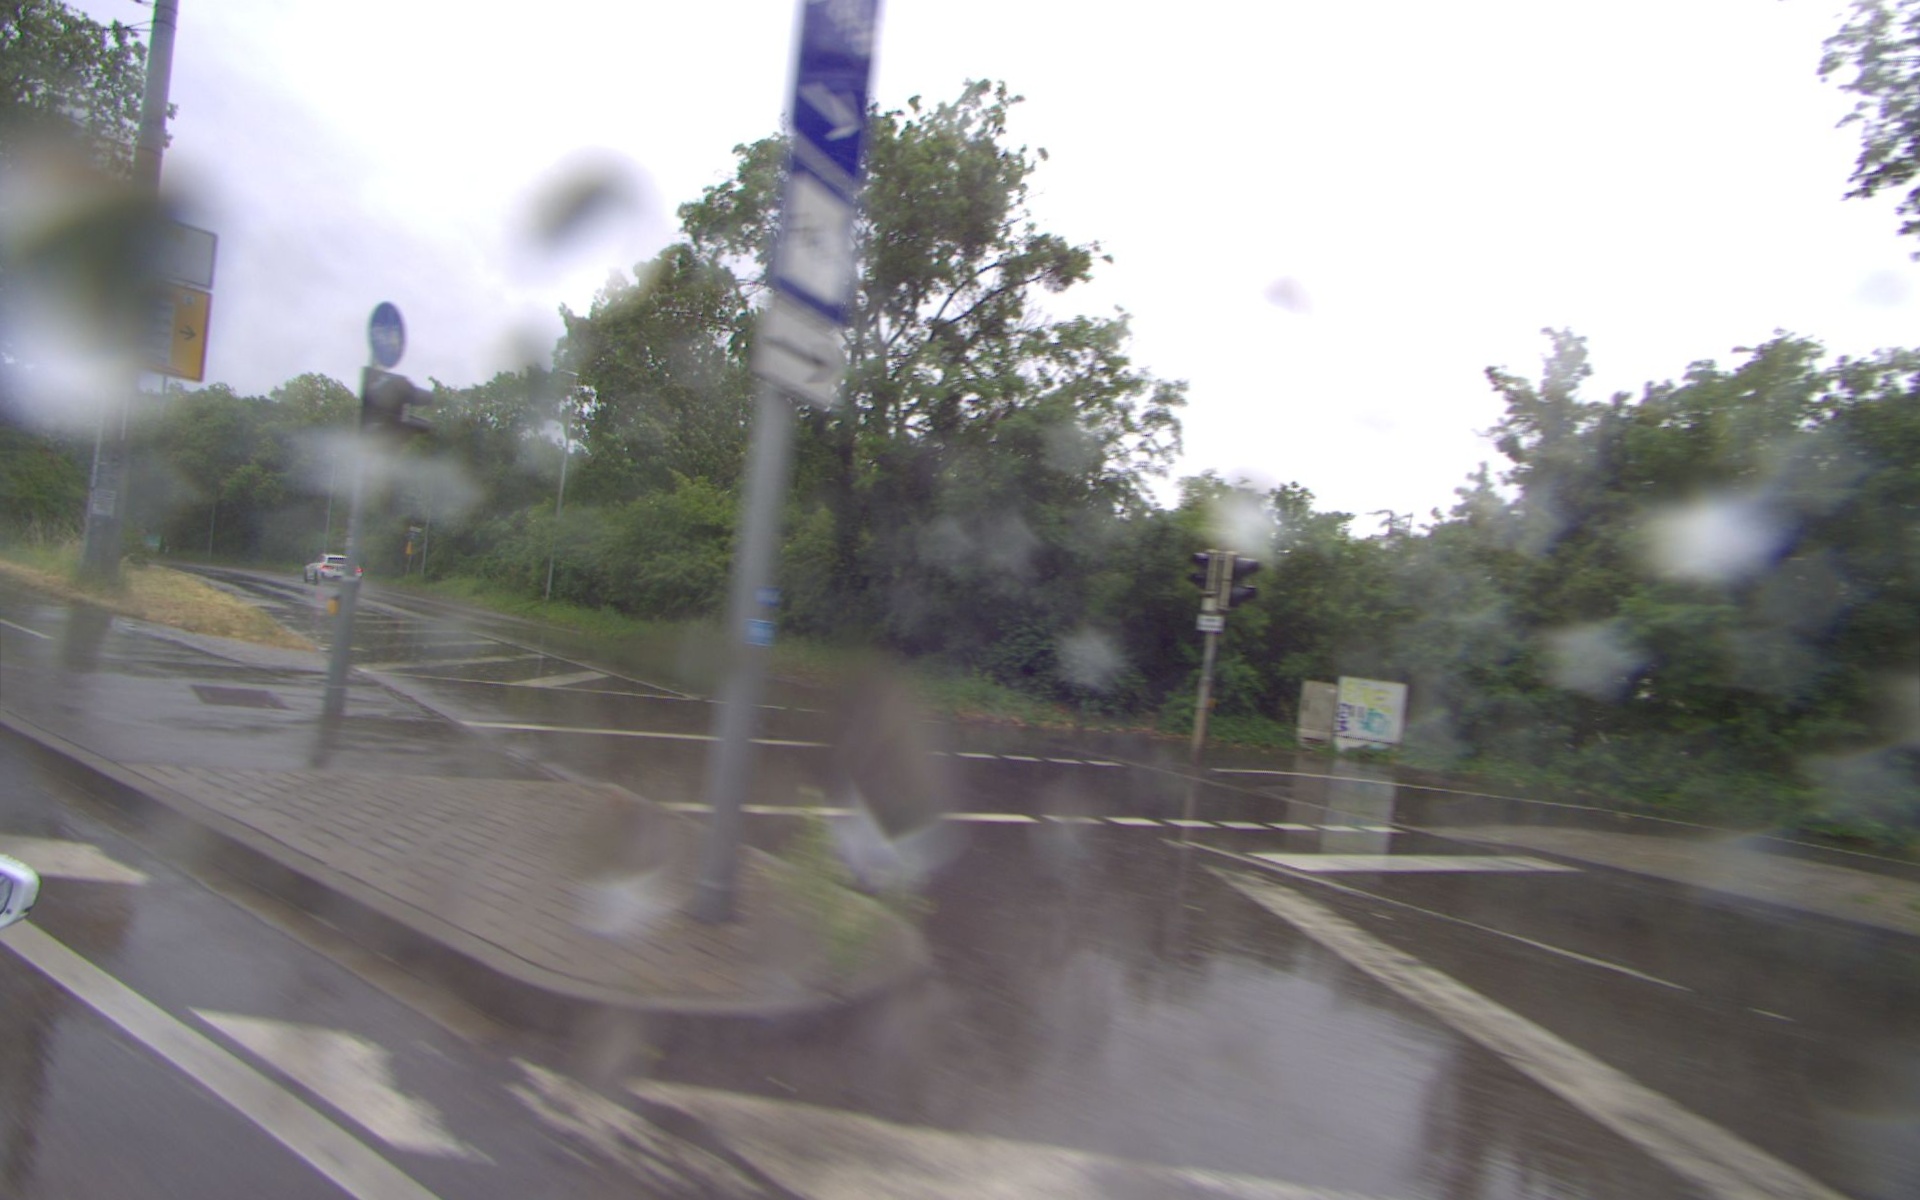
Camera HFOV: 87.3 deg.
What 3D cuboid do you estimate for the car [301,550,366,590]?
[{"bbox_3d":[-29.548,-1.426,47.423,1.882,1.448,3.954,8,-1,-41],"label":"car"}]
